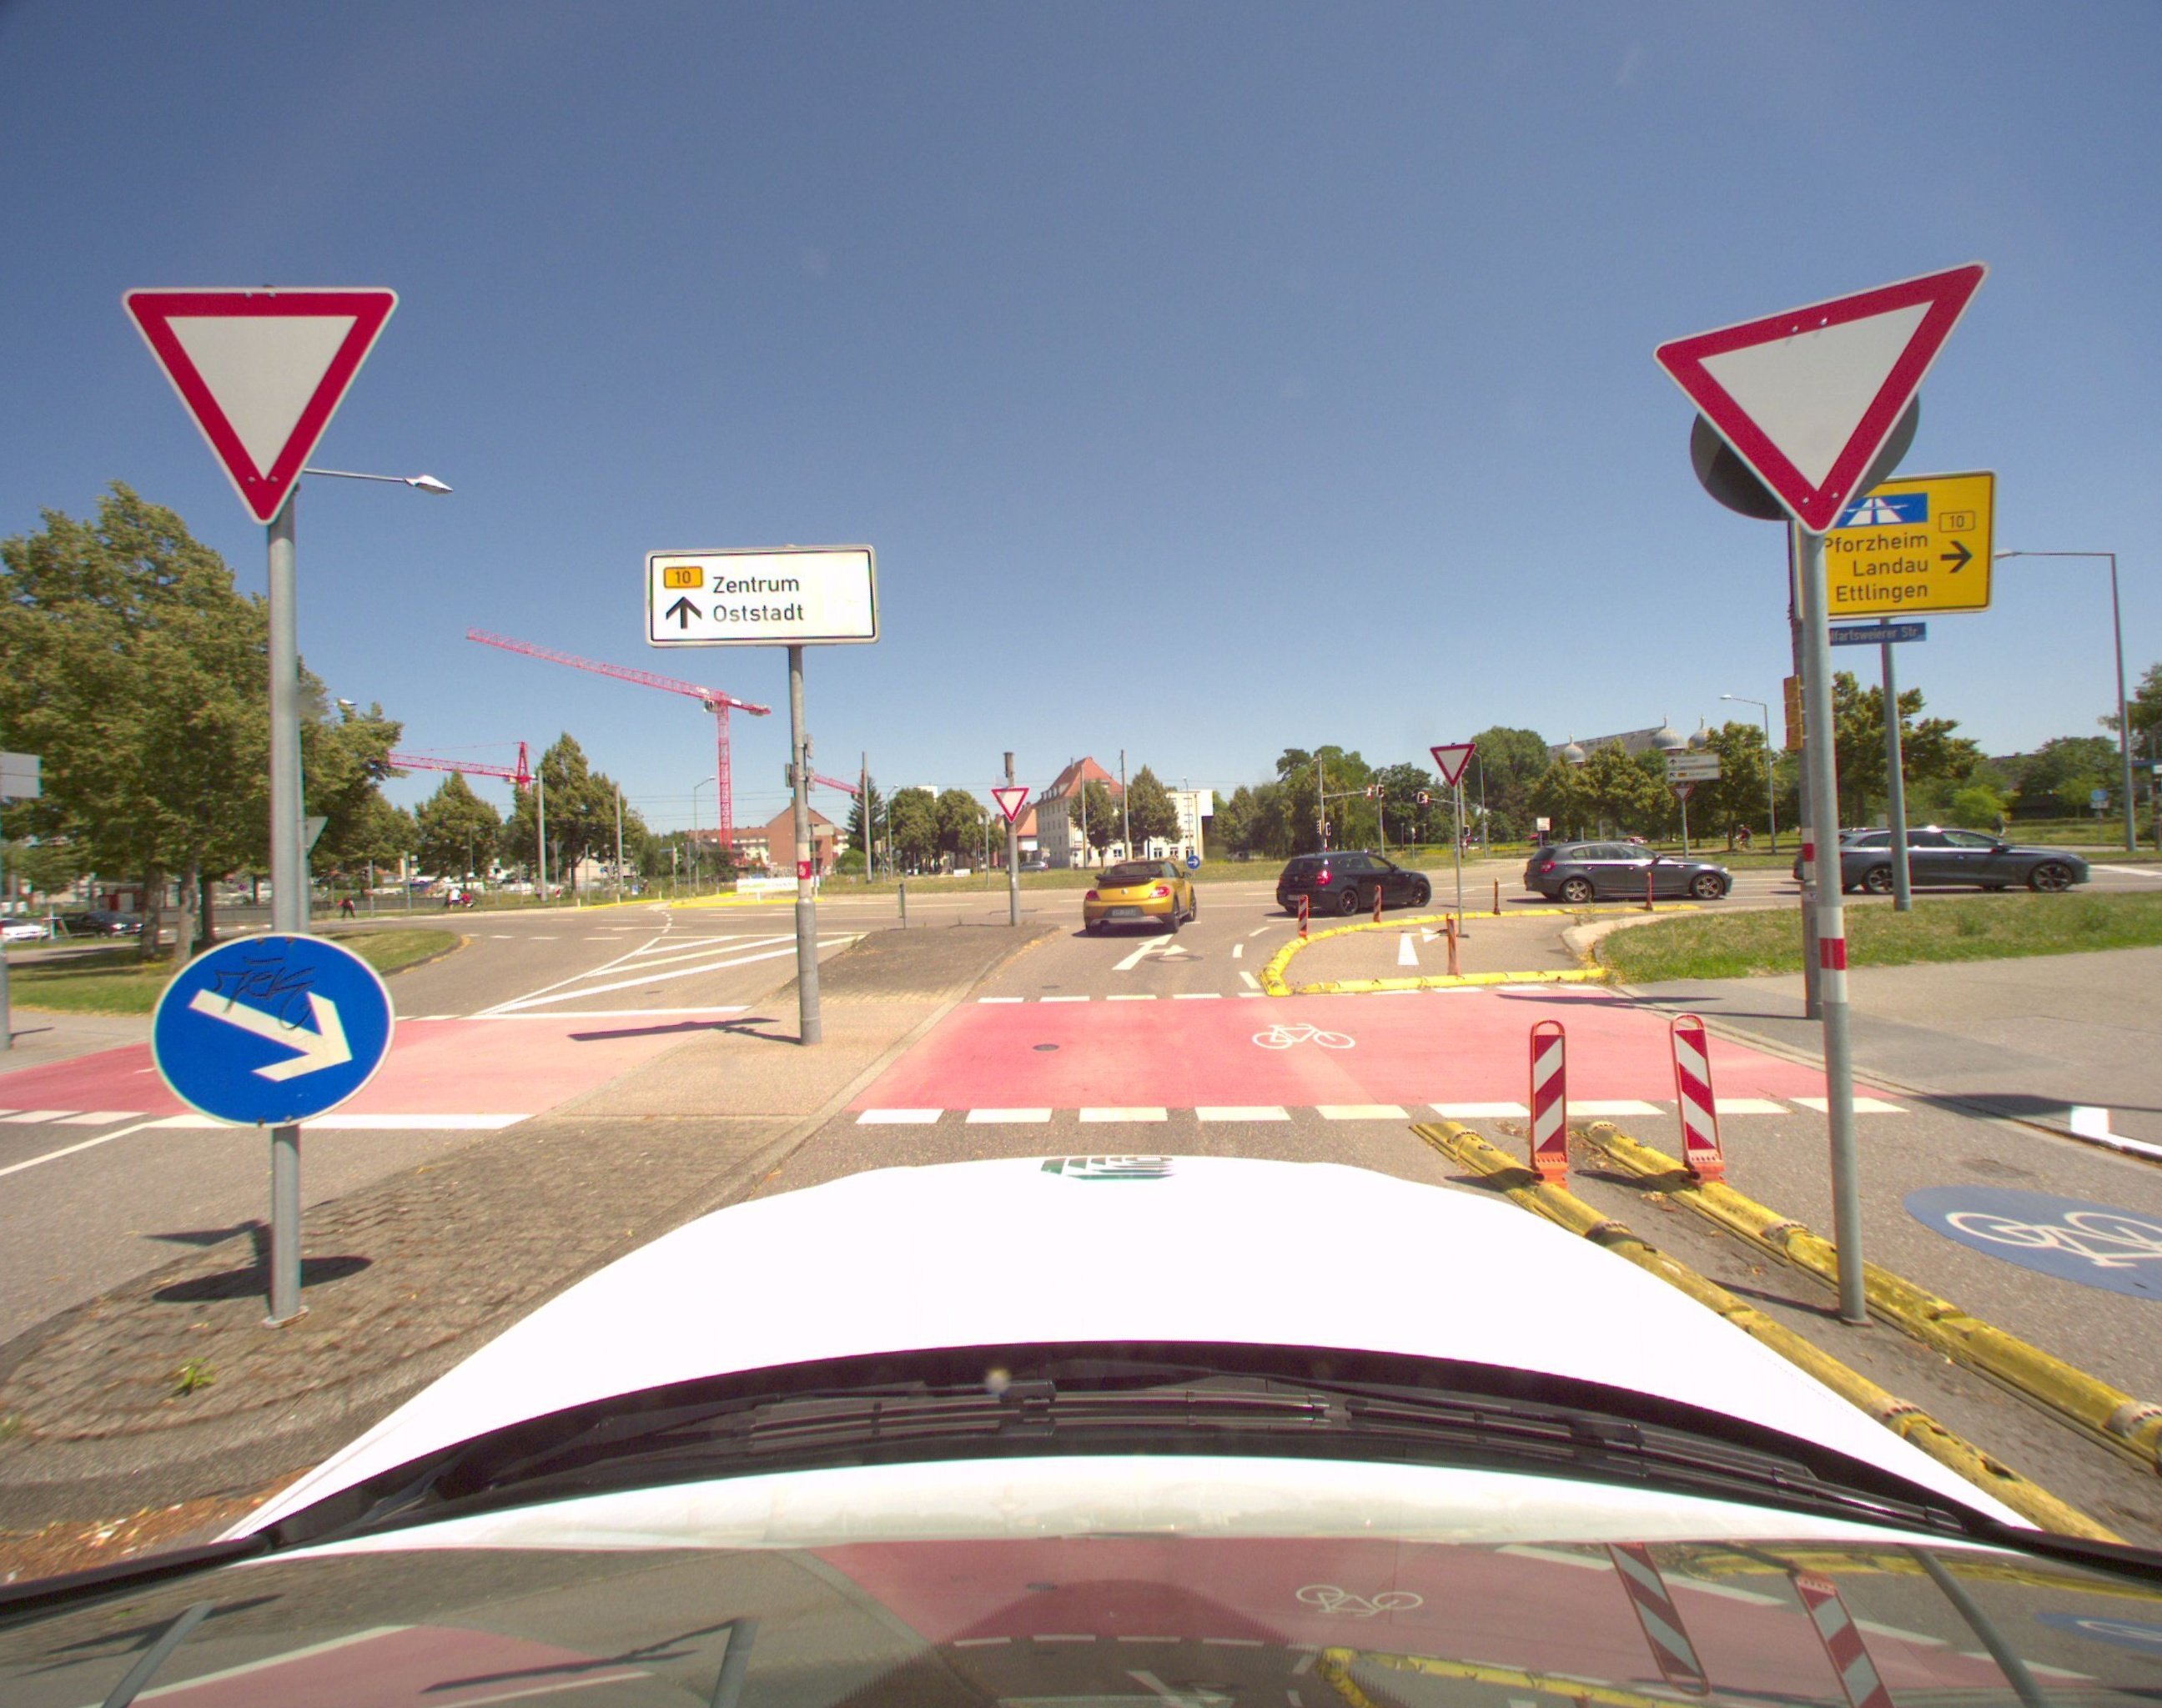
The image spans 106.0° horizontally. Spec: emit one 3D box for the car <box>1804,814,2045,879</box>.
[{"bbox_3d":[21.640,-0.176,21.152,3.949,1.422,1.793,-3,0,29],"label":"car"}]

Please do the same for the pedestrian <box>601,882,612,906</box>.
[{"bbox_3d":[-40.773,3.412,69.990,0.599,2.014,0.595,-1,-1,2],"label":"pedestrian"}]

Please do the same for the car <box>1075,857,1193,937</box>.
[{"bbox_3d":[1.214,0.811,16.859,1.813,1.403,3.675,-2,0,13],"label":"car"}]

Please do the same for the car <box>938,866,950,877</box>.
[{"bbox_3d":[-25.100,3.161,148.969,1.994,2.014,3.986,-1,-1,-10],"label":"car"}]

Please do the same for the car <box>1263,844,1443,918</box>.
[{"bbox_3d":[6.386,0.569,19.055,4.013,1.440,1.785,-3,1,-31],"label":"car"}]

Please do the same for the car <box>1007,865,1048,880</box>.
[{"bbox_3d":[-5.337,1.823,80.873,3.980,1.464,1.997,-1,-1,-5],"label":"car"}]

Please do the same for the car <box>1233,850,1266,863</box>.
[{"bbox_3d":[23.180,0.380,112.256,3.987,1.684,1.993,-1,-1,-10],"label":"car"}]

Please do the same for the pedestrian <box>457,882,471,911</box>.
[{"bbox_3d":[-42.276,2.870,55.772,0.631,1.934,0.640,-3,0,-32],"label":"pedestrian"}]

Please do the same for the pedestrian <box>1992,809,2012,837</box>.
[{"bbox_3d":[58.257,-1.974,51.522,0.674,1.731,0.572,-1,-1,-15],"label":"pedestrian"}]

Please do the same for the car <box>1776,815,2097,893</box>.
[{"bbox_3d":[18.534,0.029,17.964,4.403,1.418,2.010,-3,0,20],"label":"car"}]

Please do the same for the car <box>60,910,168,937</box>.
[{"bbox_3d":[-48.714,3.490,41.067,3.538,1.212,1.743,-1,-1,4],"label":"car"}]

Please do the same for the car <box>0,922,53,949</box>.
[{"bbox_3d":[-54.526,4.133,41.156,3.297,1.225,1.579,-1,-1,4],"label":"car"}]

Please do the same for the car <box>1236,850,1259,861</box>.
[{"bbox_3d":[30.545,0.305,149.331,3.955,2.014,2.009,-1,-1,17],"label":"car"}]

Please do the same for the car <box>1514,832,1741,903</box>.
[{"bbox_3d":[12.634,0.306,19.099,4.039,1.403,1.759,-3,0,13],"label":"car"}]

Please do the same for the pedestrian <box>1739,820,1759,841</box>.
[{"bbox_3d":[48.106,-1.701,58.658,0.707,1.451,0.816,-1,-1,-8],"label":"pedestrian"}]

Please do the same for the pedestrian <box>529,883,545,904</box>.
[{"bbox_3d":[-43.367,3.163,64.907,0.773,1.640,0.764,-1,-1,15],"label":"pedestrian"}]

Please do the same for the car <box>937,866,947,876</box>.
[{"bbox_3d":[-29.115,3.558,170.843,1.994,2.014,3.986,-1,-1,-10],"label":"car"}]

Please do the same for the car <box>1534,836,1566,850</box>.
[{"bbox_3d":[73.585,-1.678,127.792,3.949,2.014,2.012,-2,-1,42],"label":"car"}]

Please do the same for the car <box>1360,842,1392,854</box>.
[{"bbox_3d":[43.142,-0.881,119.200,3.948,1.574,2.013,-2,-1,38],"label":"car"}]

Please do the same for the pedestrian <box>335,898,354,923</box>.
[{"bbox_3d":[-44.200,3.392,48.900,0.539,1.406,0.598,-3,0,6],"label":"pedestrian"}]

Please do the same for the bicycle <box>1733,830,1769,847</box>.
[{"bbox_3d":[48.154,-1.103,58.571,0.727,1.115,2.053,-1,-1,-8],"label":"bicycle"}]

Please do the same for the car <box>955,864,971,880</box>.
[{"bbox_3d":[-15.693,2.369,108.118,1.994,2.014,3.986,-1,-1,-10],"label":"car"}]

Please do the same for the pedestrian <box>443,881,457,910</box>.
[{"bbox_3d":[-42.620,2.794,55.030,0.631,1.934,0.640,-3,0,-32],"label":"pedestrian"}]

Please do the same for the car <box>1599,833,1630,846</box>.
[{"bbox_3d":[87.225,-2.380,133.261,3.949,2.014,2.012,-2,-1,42],"label":"car"}]

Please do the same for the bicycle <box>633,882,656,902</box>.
[{"bbox_3d":[-38.488,3.360,71.792,0.554,1.685,2.093,-1,-1,12],"label":"bicycle"}]
